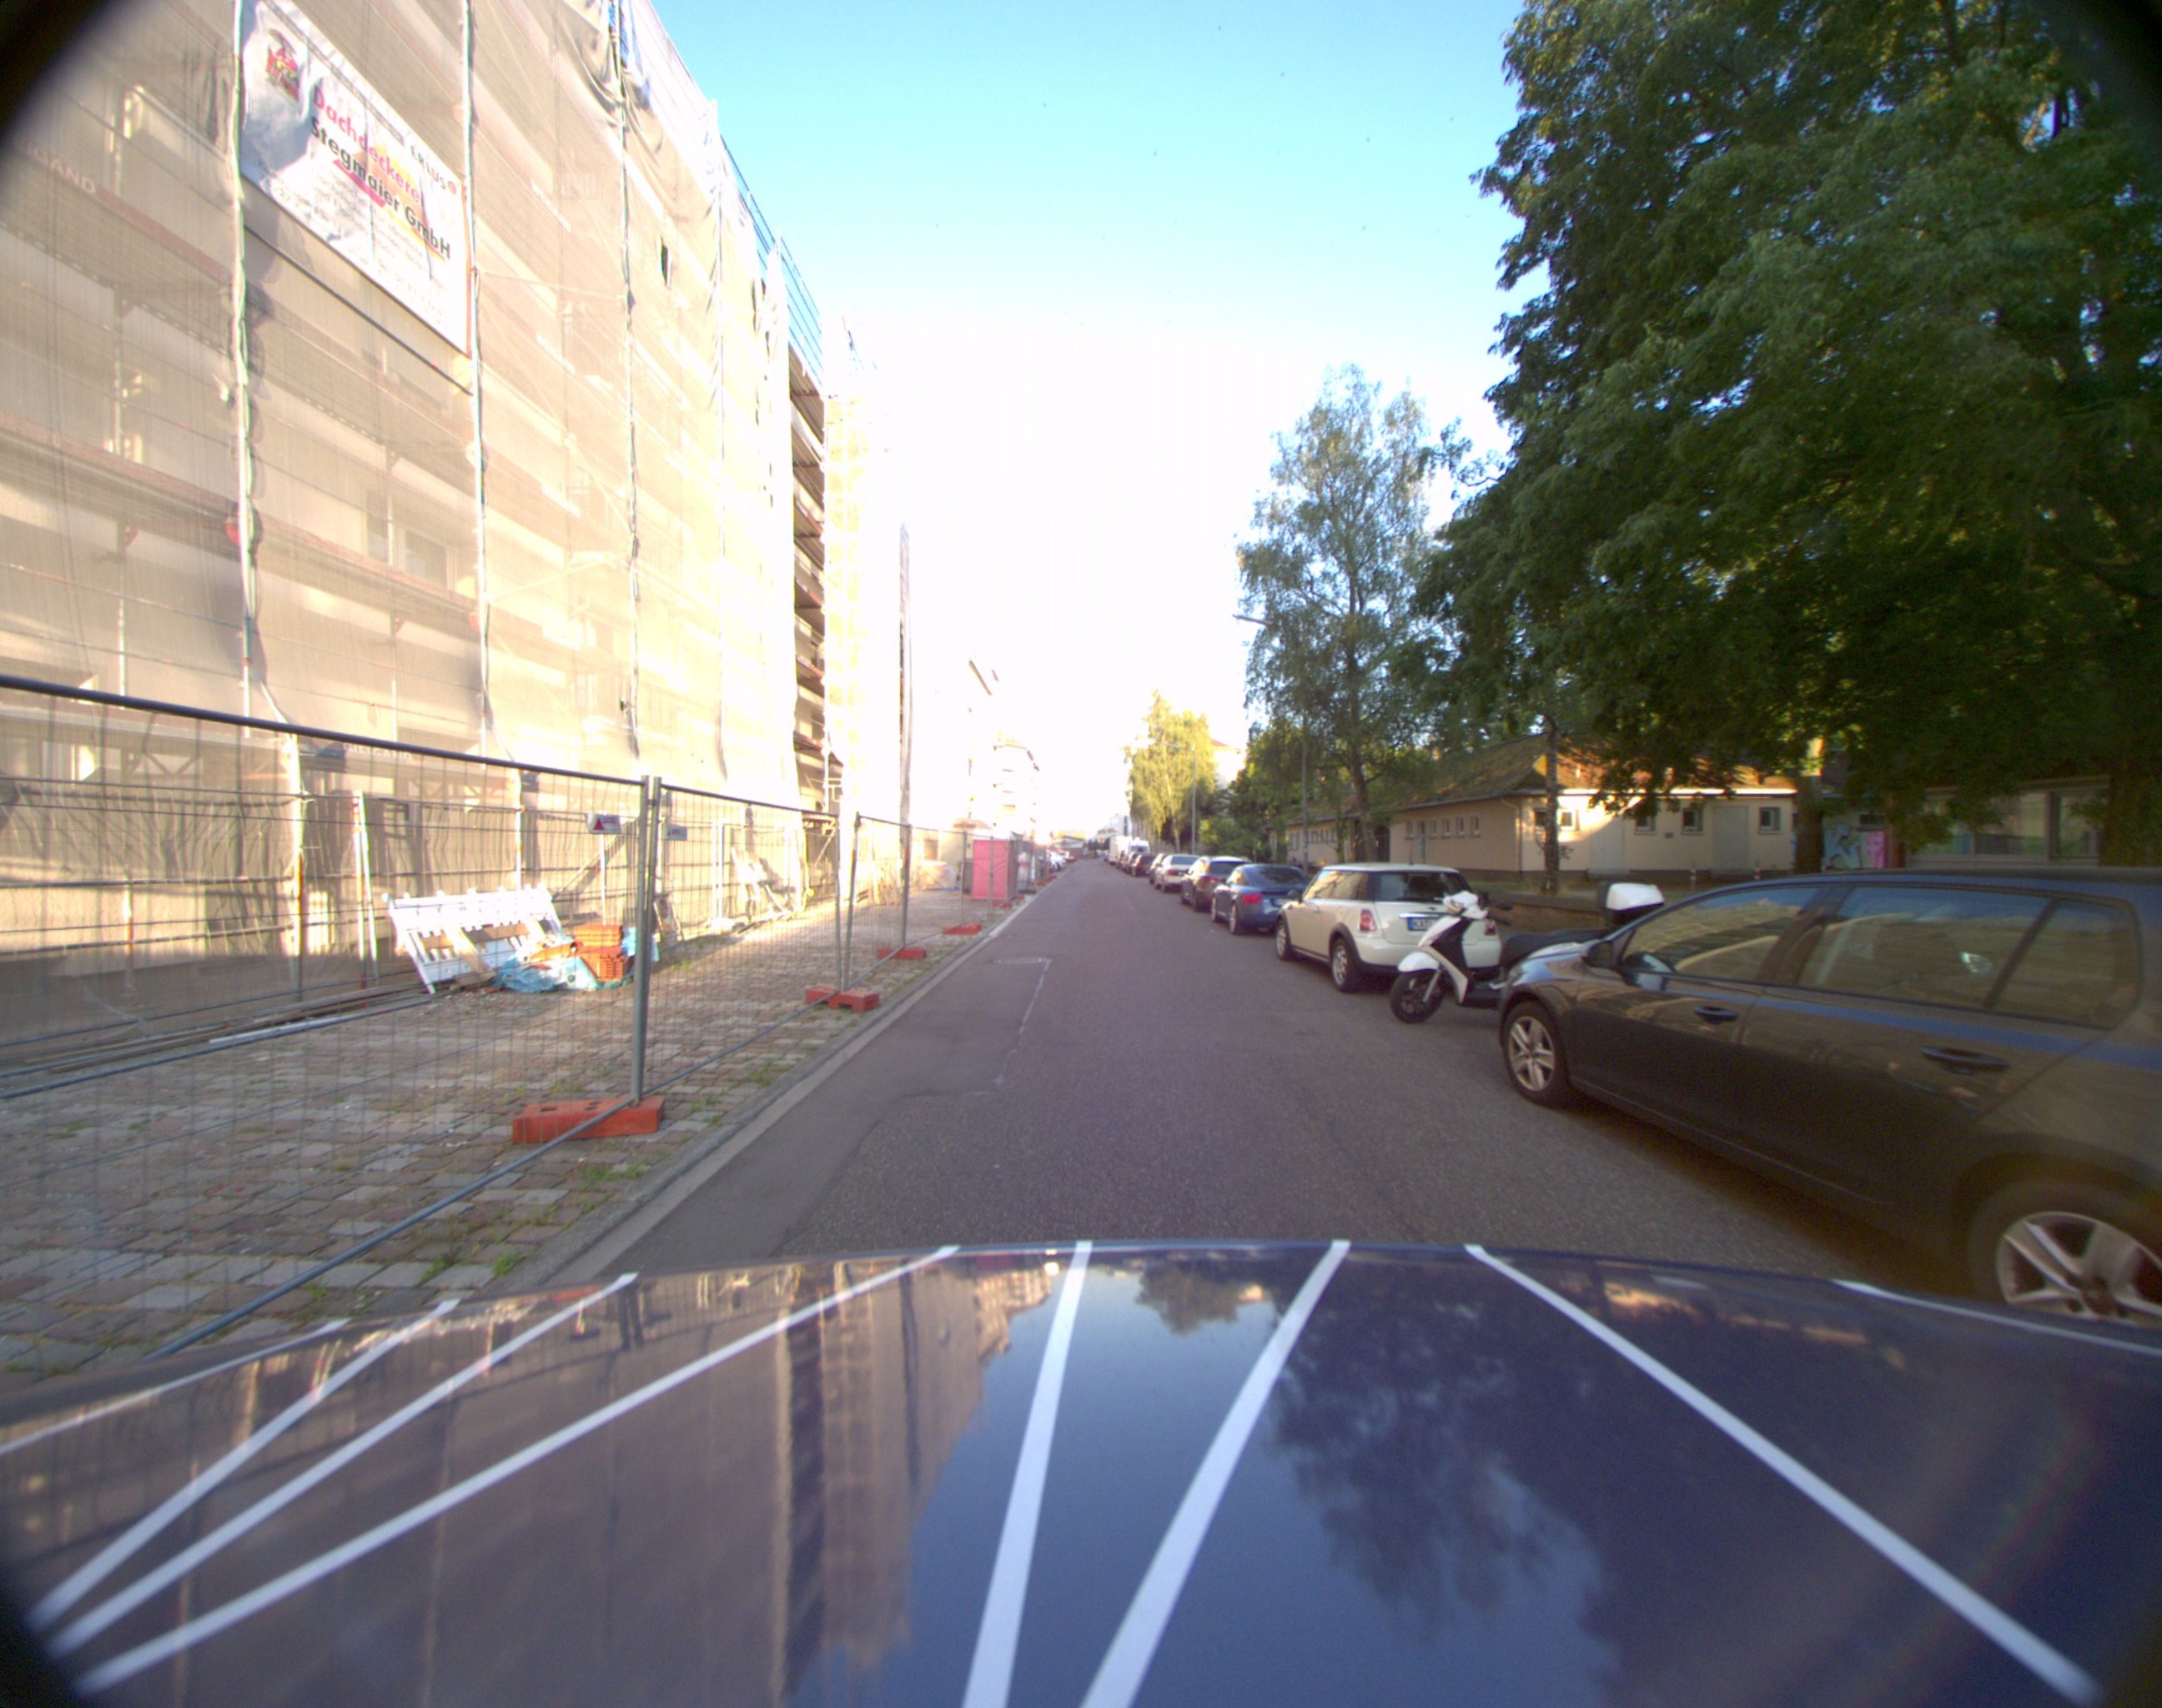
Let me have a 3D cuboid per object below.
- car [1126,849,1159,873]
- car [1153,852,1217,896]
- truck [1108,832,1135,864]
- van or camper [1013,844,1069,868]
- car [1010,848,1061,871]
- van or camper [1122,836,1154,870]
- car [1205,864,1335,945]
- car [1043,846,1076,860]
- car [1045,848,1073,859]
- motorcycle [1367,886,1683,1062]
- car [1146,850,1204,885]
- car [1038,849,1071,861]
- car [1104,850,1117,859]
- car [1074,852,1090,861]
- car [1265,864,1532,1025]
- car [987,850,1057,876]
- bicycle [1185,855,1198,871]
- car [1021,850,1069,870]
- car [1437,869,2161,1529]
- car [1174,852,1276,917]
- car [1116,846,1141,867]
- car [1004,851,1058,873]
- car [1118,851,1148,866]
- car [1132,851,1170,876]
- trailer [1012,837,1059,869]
[{"bbox_3d":[4.257,0.454,53.086,1.998,1.510,4.789,-1,0,1],"label":"car"},{"bbox_3d":[3.871,0.692,29.042,1.787,1.437,4.748,2,1,0],"label":"car"},{"bbox_3d":[4.531,-0.664,86.922,2.532,3.334,8.016,2,0,0],"label":"truck"},{"bbox_3d":[-3.474,0.195,66.940,4.846,2.084,2.040,0,1,0],"label":"van or camper"},{"bbox_3d":[-3.678,0.425,61.575,3.997,1.718,1.999,0,2,-1],"label":"car"},{"bbox_3d":[4.348,-0.083,58.831,1.998,2.442,6.082,0,0,0],"label":"van or camper"},{"bbox_3d":[3.666,0.919,15.440,1.663,1.306,4.154,1,1,1],"label":"car"},{"bbox_3d":[-3.124,-0.124,110.253,4.685,1.988,2.000,0,1,1],"label":"car"},{"bbox_3d":[-3.131,-0.082,107.529,3.998,1.619,1.784,0,0,-2],"label":"car"},{"bbox_3d":[3.649,0.953,6.490,2.167,1.296,0.881,-1,1,15],"label":"motorcycle"},{"bbox_3d":[4.238,0.571,34.808,1.999,1.444,3.999,-1,0,-2],"label":"car"},{"bbox_3d":[-3.578,0.158,102.501,4.311,1.532,1.923,0,0,2],"label":"car"},{"bbox_3d":[5.120,0.143,130.714,1.999,1.481,4.431,-1,0,-1],"label":"car"},{"bbox_3d":[0.137,0.493,129.518,2.000,1.481,4.427,-1,0,-11],"label":"car"},{"bbox_3d":[3.570,0.914,9.340,1.605,1.423,3.803,2,1,-1],"label":"car"},{"bbox_3d":[-3.603,0.541,46.954,4.163,1.606,1.872,0,1,2],"label":"car"},{"bbox_3d":[7.519,0.604,51.838,0.544,1.111,1.955,-1,0,-1],"label":"bicycle"},{"bbox_3d":[-2.983,0.515,64.207,3.997,1.630,1.999,0,1,-1],"label":"car"},{"bbox_3d":[3.472,0.888,3.332,1.720,1.487,4.360,1,1,0],"label":"car"},{"bbox_3d":[3.782,0.739,20.783,1.864,1.529,4.758,1,1,0],"label":"car"},{"bbox_3d":[4.347,0.213,69.652,1.915,1.777,4.949,1,0,0],"label":"car"},{"bbox_3d":[-3.706,0.571,56.951,3.998,1.628,1.903,0,1,-2],"label":"car"},{"bbox_3d":[4.395,0.342,64.432,1.999,1.182,4.034,-1,0,-4],"label":"car"},{"bbox_3d":[4.235,0.535,46.699,1.998,1.444,4.288,-1,0,1],"label":"car"},{"bbox_3d":[-3.518,-0.099,59.443,3.577,2.323,1.940,2,1,-2],"label":"trailer"}]
